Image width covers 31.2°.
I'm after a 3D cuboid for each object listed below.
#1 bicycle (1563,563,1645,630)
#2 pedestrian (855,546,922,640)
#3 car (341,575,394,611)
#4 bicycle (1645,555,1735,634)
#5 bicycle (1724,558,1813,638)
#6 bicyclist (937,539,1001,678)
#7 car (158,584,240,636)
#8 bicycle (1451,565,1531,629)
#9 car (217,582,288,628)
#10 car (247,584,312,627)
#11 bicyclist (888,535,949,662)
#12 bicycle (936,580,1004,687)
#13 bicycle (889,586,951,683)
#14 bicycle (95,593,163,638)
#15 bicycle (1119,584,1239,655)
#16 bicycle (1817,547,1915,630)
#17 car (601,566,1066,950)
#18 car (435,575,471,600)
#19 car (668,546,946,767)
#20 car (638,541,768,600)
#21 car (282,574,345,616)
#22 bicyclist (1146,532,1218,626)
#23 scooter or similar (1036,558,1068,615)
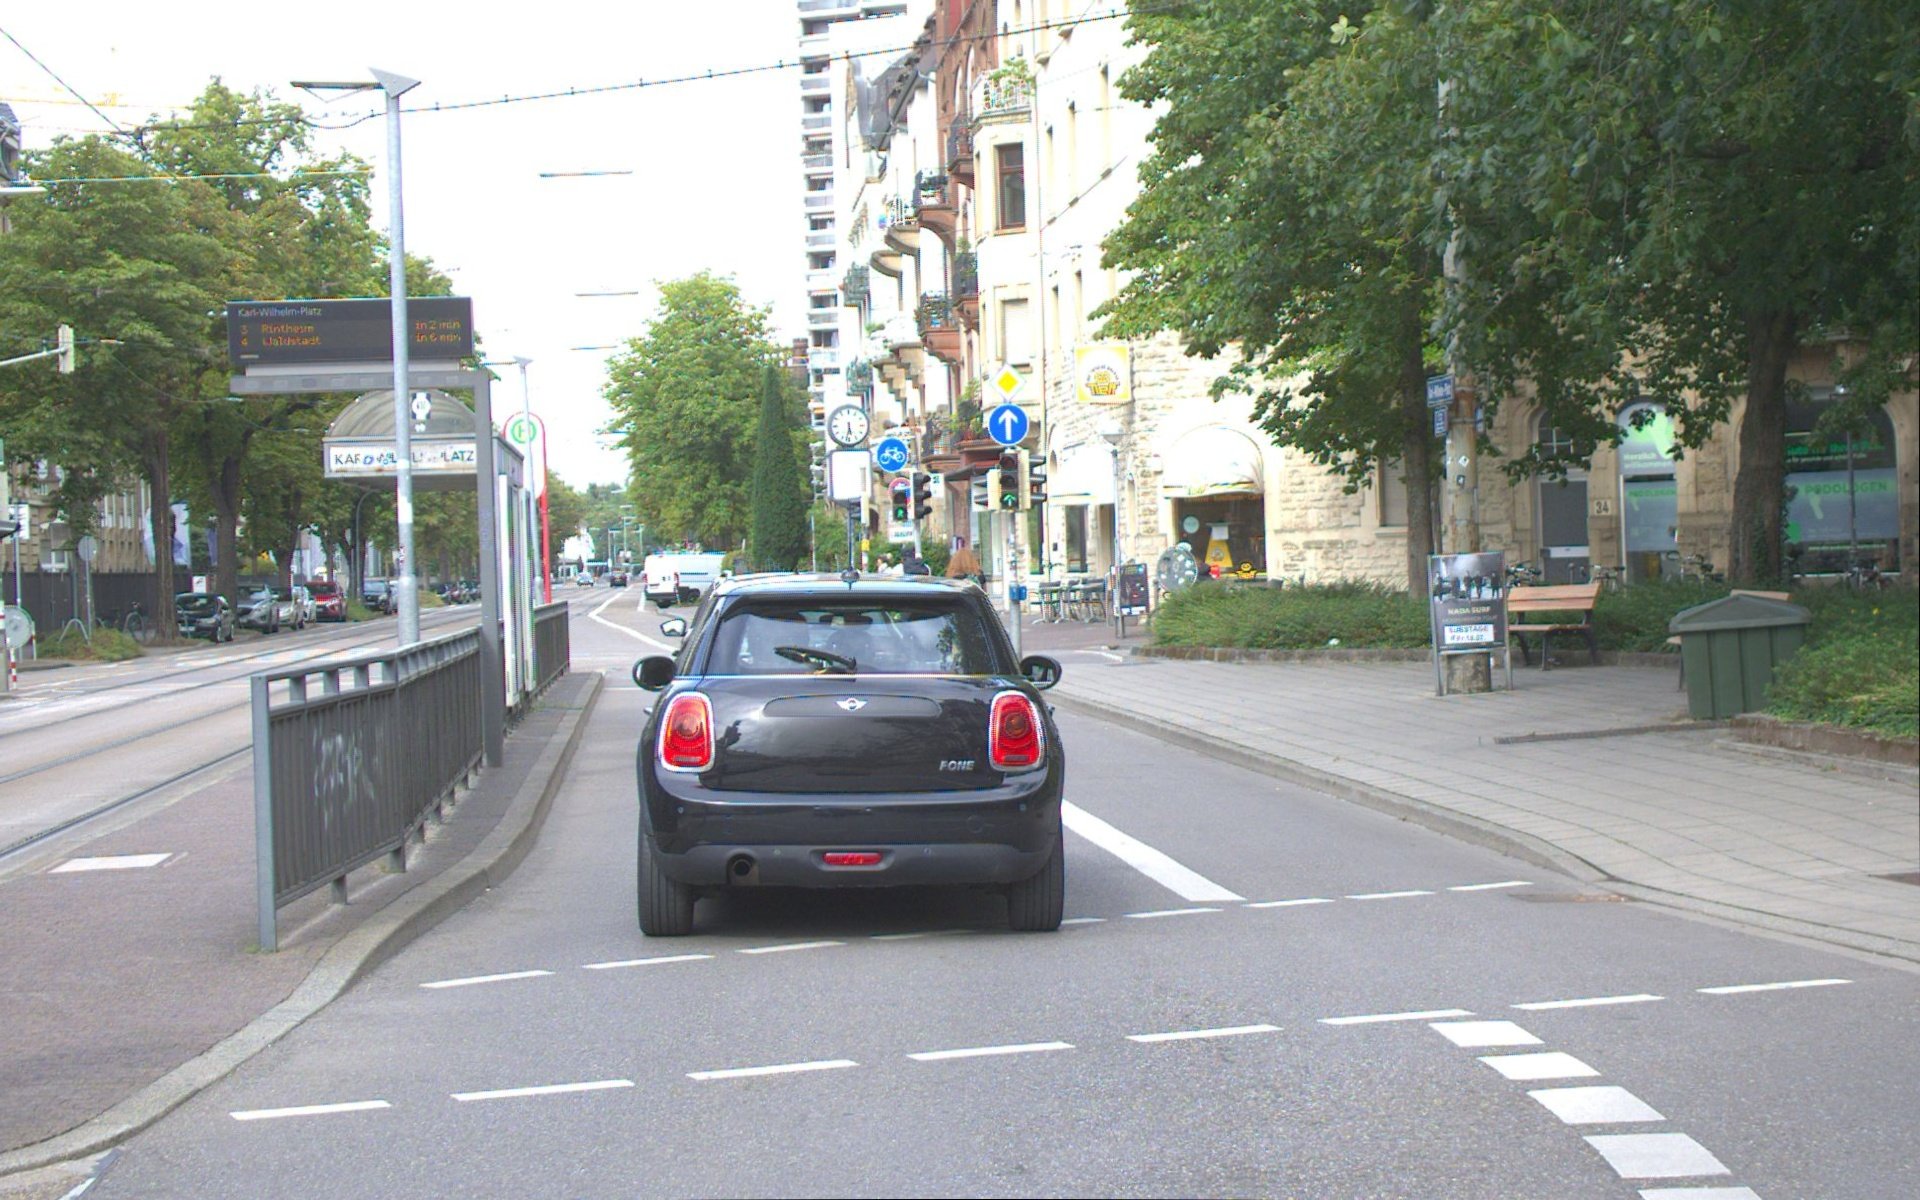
[{"bbox_3d":[9.967,-0.056,53.183,0.532,0.969,1.646,-2,1,37],"label":"bicycle"},{"bbox_3d":[-1.344,-0.130,64.356,0.732,1.668,0.833,-4,1,42],"label":"pedestrian"},{"bbox_3d":[-27.623,-0.344,160.389,1.993,1.546,4.001,-2,1,-4],"label":"car"},{"bbox_3d":[11.028,-0.083,51.890,0.532,1.124,1.890,-2,1,37],"label":"bicycle"},{"bbox_3d":[12.029,-0.038,51.096,0.532,1.124,1.890,-2,1,37],"label":"bicycle"},{"bbox_3d":[0.098,0.085,39.290,0.594,1.545,1.014,-2,1,-5],"label":"bicyclist"},{"bbox_3d":[-21.872,0.276,98.923,1.766,1.390,4.001,-2,1,-6],"label":"car"},{"bbox_3d":[8.507,-0.050,55.069,0.602,0.969,1.669,-2,1,33],"label":"bicycle"},{"bbox_3d":[-22.804,0.150,110.915,1.766,1.390,4.001,-2,1,-6],"label":"car"},{"bbox_3d":[-23.434,0.177,118.564,1.766,1.390,4.001,-2,1,-6],"label":"car"},{"bbox_3d":[-0.533,-0.028,43.671,0.684,1.558,0.998,-2,1,-3],"label":"bicyclist"},{"bbox_3d":[0.106,0.370,39.297,0.598,1.166,1.697,-2,1,-5],"label":"bicycle"},{"bbox_3d":[-0.521,0.430,43.733,0.684,1.166,1.697,-2,1,-3],"label":"bicycle"},{"bbox_3d":[-22.091,0.419,91.412,1.668,1.115,0.572,-3,1,-44],"label":"bicycle"},{"bbox_3d":[3.509,0.320,55.101,1.818,1.073,0.615,-2,1,34],"label":"bicycle"},{"bbox_3d":[13.170,-0.173,49.957,0.666,1.124,1.890,-2,1,37],"label":"bicycle"},{"bbox_3d":[-0.496,0.578,14.985,1.751,1.436,4.000,0,1,-1],"label":"car"},{"bbox_3d":[-32.915,-0.807,223.106,1.993,1.546,4.001,-2,1,-4],"label":"car"},{"bbox_3d":[-1.185,0.378,26.503,1.926,1.504,4.000,-2,1,-3],"label":"car"},{"bbox_3d":[-10.749,-1.241,144.208,5.026,2.265,2.395,-3,1,-45],"label":"car"},{"bbox_3d":[-25.829,-0.213,137.410,1.993,1.546,4.001,-2,1,-4],"label":"car"},{"bbox_3d":[3.560,-0.336,55.043,0.914,1.468,0.615,-2,1,34],"label":"bicyclist"},{"bbox_3d":[1.969,-0.287,73.549,0.508,1.184,1.262,-2,1,-5],"label":"scooter or similar"}]
